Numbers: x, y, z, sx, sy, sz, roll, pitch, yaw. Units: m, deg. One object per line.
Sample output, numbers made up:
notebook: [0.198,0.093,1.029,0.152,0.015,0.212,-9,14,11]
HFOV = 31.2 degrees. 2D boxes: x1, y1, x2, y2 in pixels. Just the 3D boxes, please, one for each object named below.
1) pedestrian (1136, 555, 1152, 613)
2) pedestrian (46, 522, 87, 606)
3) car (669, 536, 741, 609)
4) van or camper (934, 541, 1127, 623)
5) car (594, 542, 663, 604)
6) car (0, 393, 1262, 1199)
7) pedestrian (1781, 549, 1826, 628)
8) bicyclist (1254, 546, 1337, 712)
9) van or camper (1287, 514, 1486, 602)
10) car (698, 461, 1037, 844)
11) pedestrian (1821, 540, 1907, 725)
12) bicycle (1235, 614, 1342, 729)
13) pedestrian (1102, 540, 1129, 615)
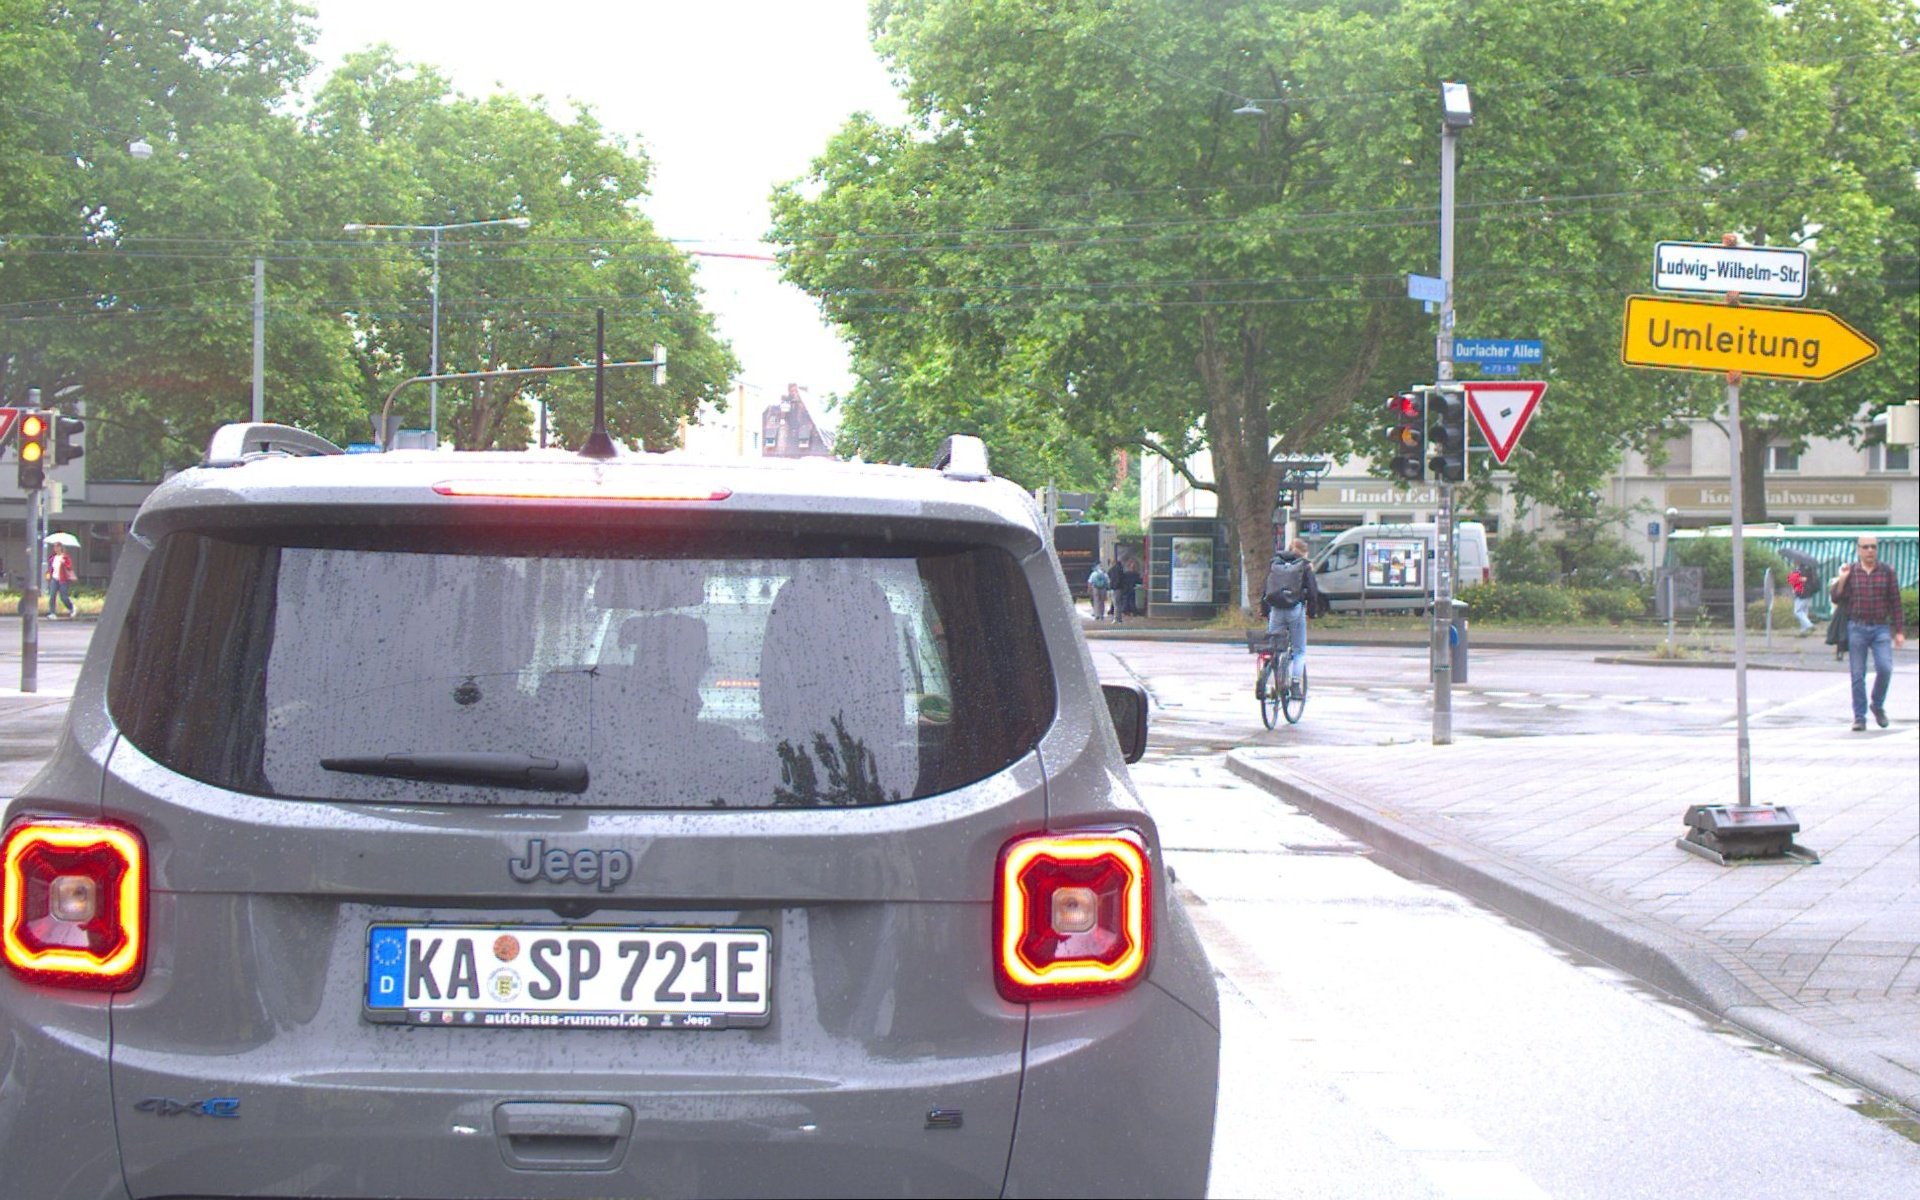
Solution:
pedestrian: [5.388,-0.472,100.682,0.458,1.698,0.424,0,1,0]
pedestrian: [-19.461,-0.786,74.872,0.619,1.820,0.694,0,1,13]
car: [-6.280,-0.686,84.494,1.721,1.733,3.730,0,1,-5]
van or camper: [2.560,-0.665,124.765,6.535,2.902,2.491,0,1,24]
car: [-9.010,-0.747,93.527,1.813,1.665,3.921,0,1,-5]
car: [-0.571,0.561,6.186,1.775,1.681,3.848,-1,1,-2]
pedestrian: [16.750,-0.230,68.251,0.674,1.548,0.760,1,-1,27]
bicyclist: [3.302,0.276,33.775,0.687,1.612,0.883,0,1,13]
van or camper: [11.730,-1.179,94.803,5.260,2.307,2.090,1,1,3]
car: [-0.527,0.245,20.099,1.770,2.007,4.000,0,1,-1]
pedestrian: [8.697,0.301,33.100,0.786,1.753,0.945,0,1,14]
bicycle: [3.236,0.678,33.676,0.692,1.018,2.656,0,1,13]
pedestrian: [4.192,-0.610,92.645,0.651,2.007,0.482,1,1,12]
